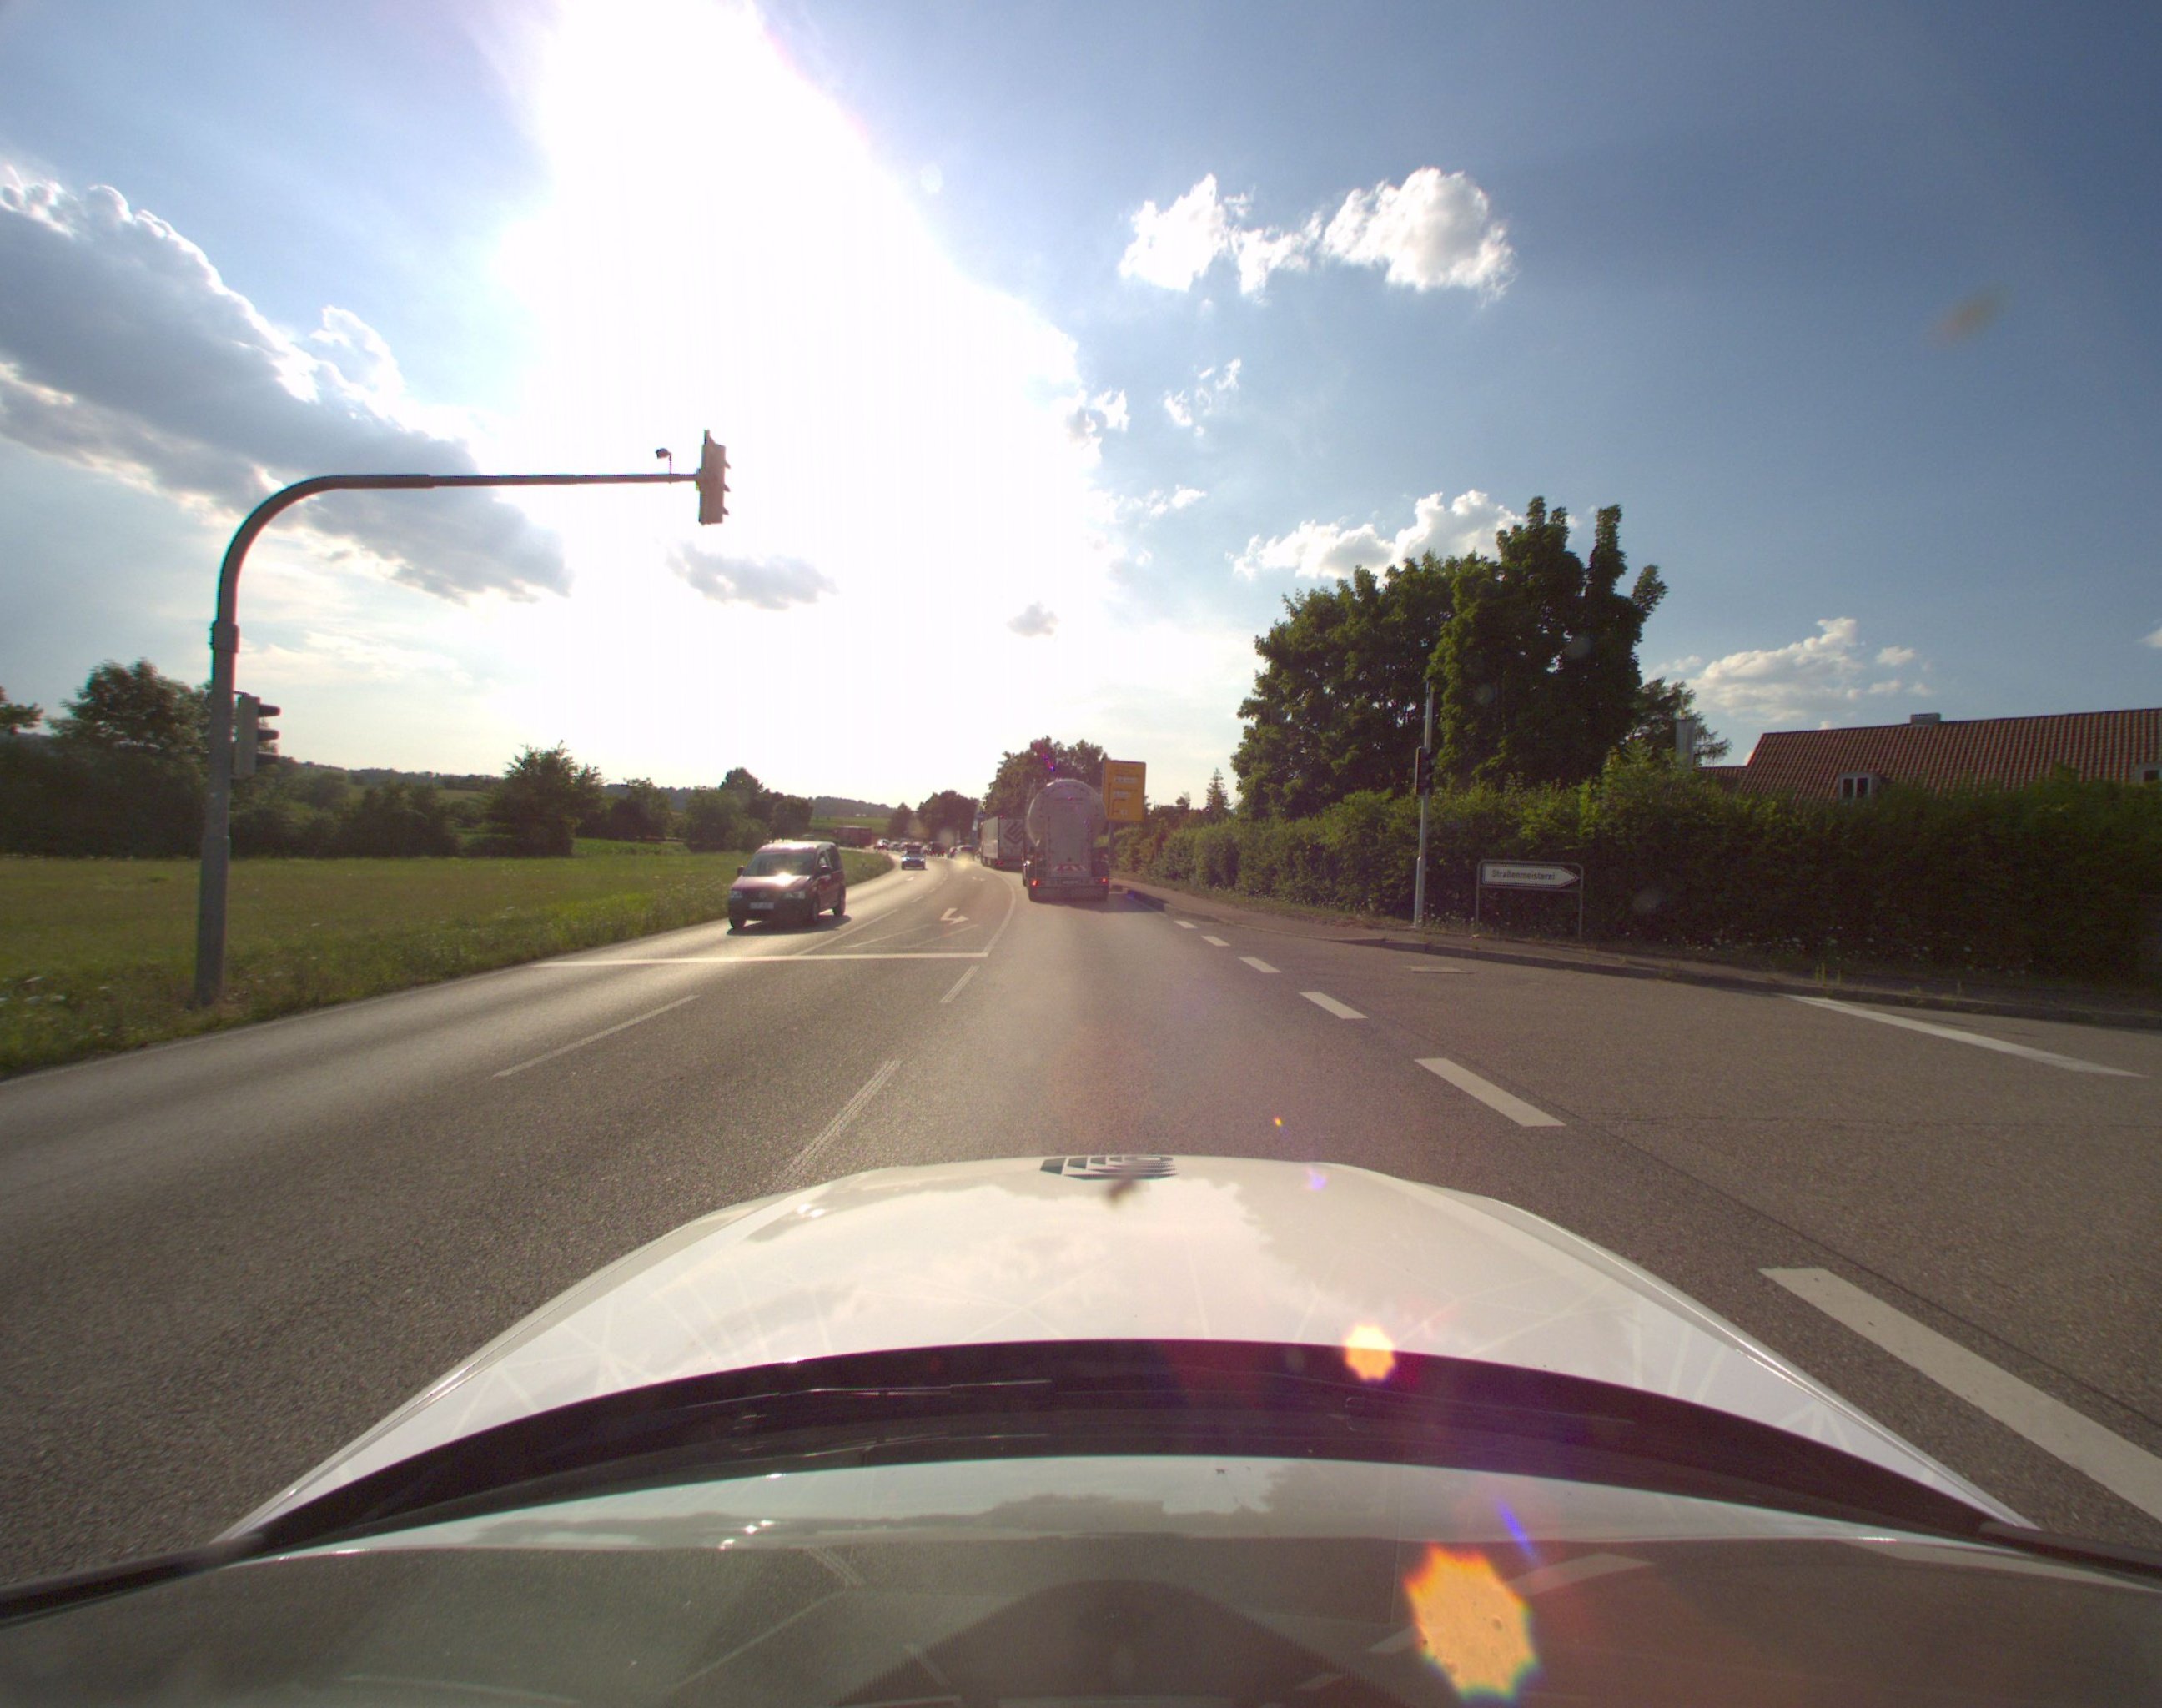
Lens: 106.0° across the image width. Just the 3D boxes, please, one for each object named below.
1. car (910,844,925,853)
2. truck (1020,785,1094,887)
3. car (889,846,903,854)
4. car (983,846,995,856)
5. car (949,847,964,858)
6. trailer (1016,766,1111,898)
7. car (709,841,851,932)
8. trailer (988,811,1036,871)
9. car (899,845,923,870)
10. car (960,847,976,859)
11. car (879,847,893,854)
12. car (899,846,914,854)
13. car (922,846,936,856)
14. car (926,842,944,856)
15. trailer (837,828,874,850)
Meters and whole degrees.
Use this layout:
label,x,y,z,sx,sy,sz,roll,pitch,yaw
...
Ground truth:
label,x,y,z,sx,sy,sz,roll,pitch,yaw
car,-26.205,-0.861,130.715,1.588,1.340,3.396,1,0,-26
truck,-1.062,-0.708,34.101,2.904,4.006,4.054,0,0,-4
car,-32.781,-0.700,144.040,1.588,1.340,3.396,1,0,-26
car,-13.533,-0.447,119.320,1.673,1.340,3.416,1,0,-8
car,-15.805,-0.151,103.262,1.582,1.340,3.409,1,0,-14
trailer,-0.807,-0.710,29.880,2.903,4.006,9.918,0,0,-3
car,-6.669,0.630,18.565,1.877,1.775,4.315,-1,1,-4
trailer,-5.816,-0.996,66.285,2.954,4.315,14.133,1,0,-9
car,-13.272,0.241,63.757,1.725,1.882,4.319,-1,1,-11
car,-13.269,-0.139,95.213,1.581,1.340,3.411,1,0,-12
car,-35.984,-0.731,150.102,1.778,1.205,3.396,1,0,-26
car,-29.244,-0.675,136.398,1.588,1.340,3.396,1,0,-26
car,-23.226,-0.449,124.172,1.420,1.432,3.123,0,-1,-22
car,-20.969,-0.730,116.941,1.868,2.013,3.695,0,1,-19
trailer,-46.061,-3.033,165.808,3.398,4.350,14.150,1,0,-32
